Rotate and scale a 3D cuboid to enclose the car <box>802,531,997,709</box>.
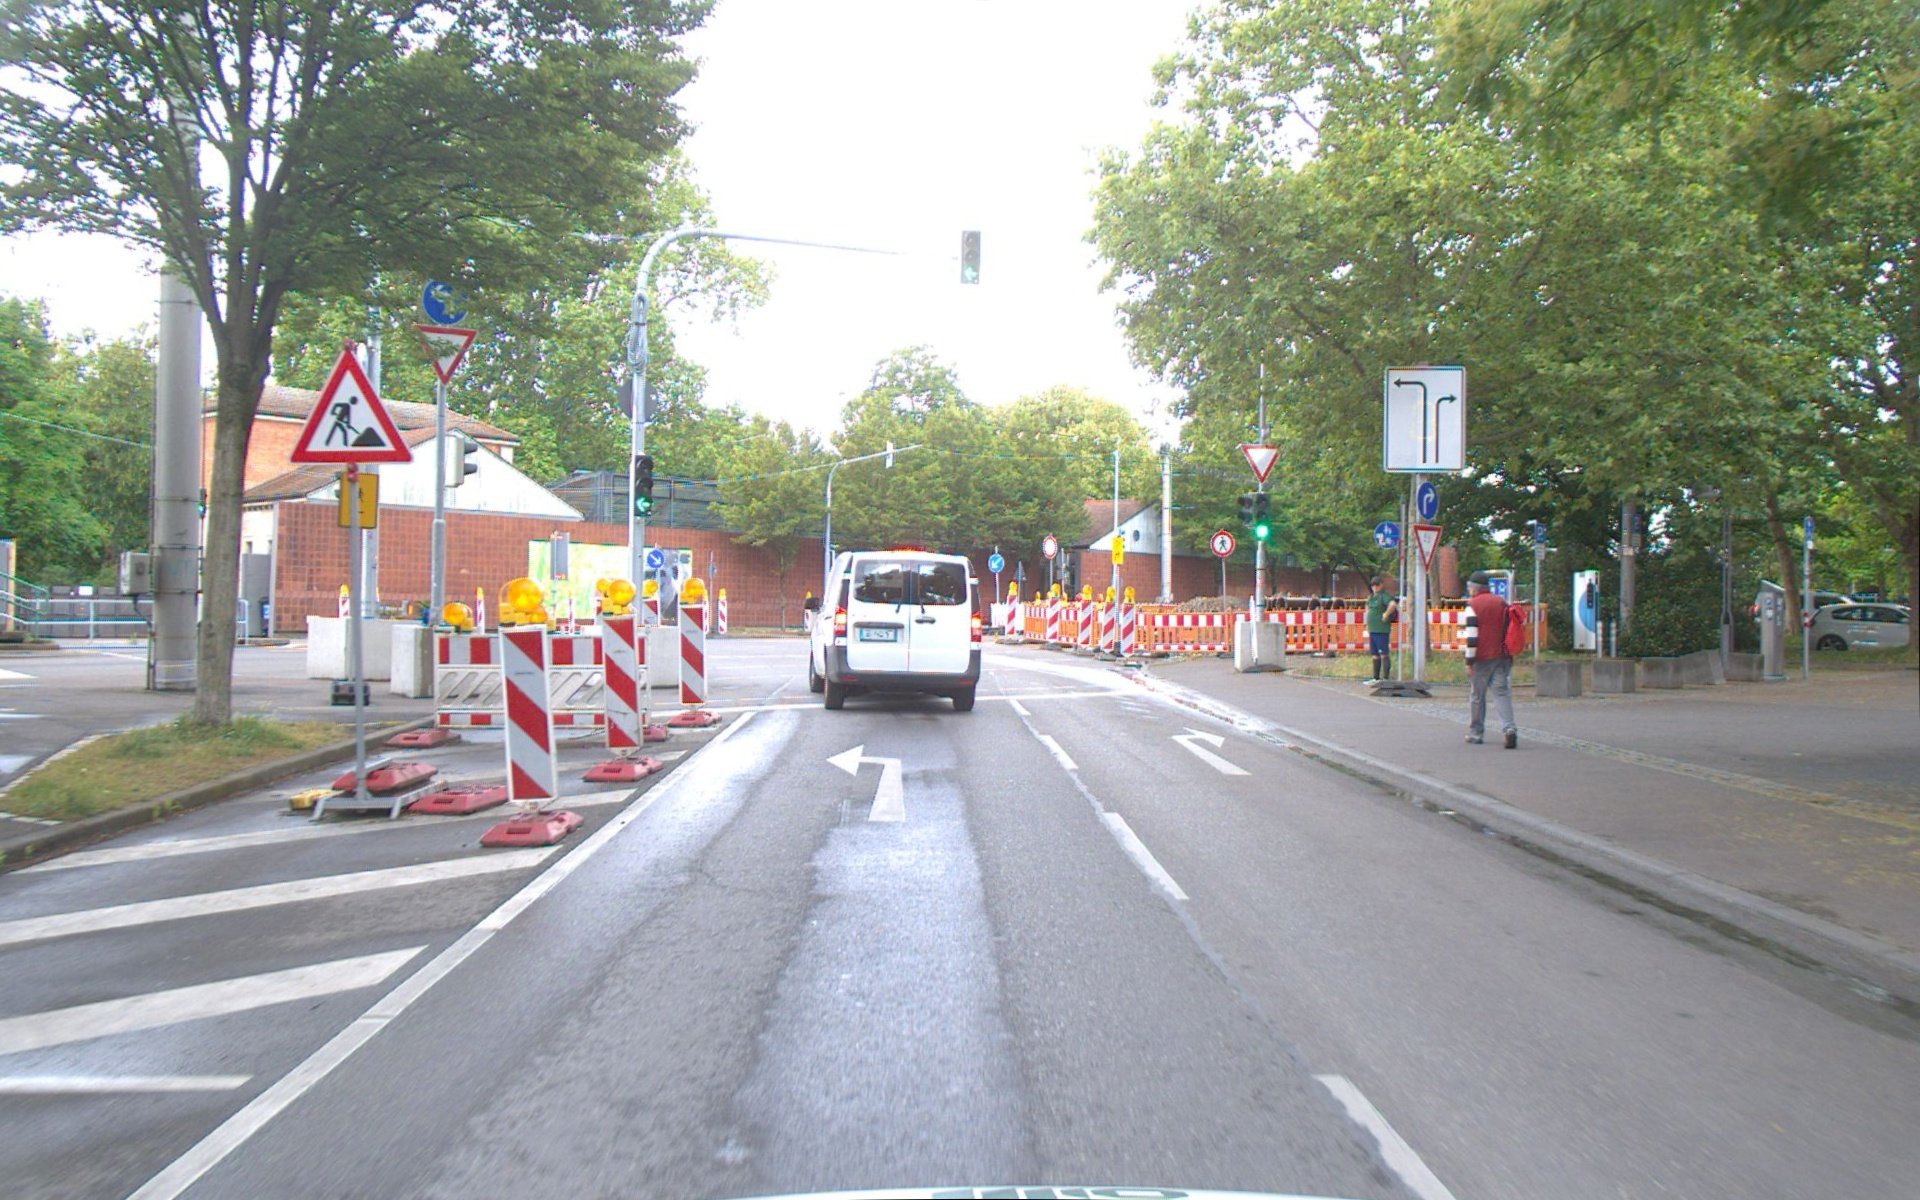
[{"bbox_3d":[-0.911,0.313,21.475,1.882,1.935,4.691,4,-2,-9],"label":"car"}]

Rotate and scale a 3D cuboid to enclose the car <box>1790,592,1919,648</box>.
[{"bbox_3d":[23.307,0.509,41.228,4.426,1.349,1.710,-1,-1,42],"label":"car"}]

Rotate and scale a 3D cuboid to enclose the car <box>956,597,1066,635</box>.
[{"bbox_3d":[2.126,0.681,68.117,4.413,1.468,1.854,2,-3,-39],"label":"car"}]

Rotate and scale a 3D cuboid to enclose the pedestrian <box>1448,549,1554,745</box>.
[{"bbox_3d":[5.335,0.451,16.344,0.763,1.863,0.727,-2,0,-1],"label":"pedestrian"}]

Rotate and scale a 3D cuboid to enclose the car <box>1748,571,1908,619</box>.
[{"bbox_3d":[28.474,-0.129,54.313,4.420,1.497,1.712,-1,-1,38],"label":"car"}]

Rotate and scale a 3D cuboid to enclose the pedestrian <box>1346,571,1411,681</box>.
[{"bbox_3d":[6.680,0.403,26.428,0.717,1.727,0.836,-1,0,-10],"label":"pedestrian"}]

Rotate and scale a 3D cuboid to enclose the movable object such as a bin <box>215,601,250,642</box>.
[{"bbox_3d":[-24.106,0.718,54.791,0.844,1.364,0.788,0,-1,-43],"label":"movable object such as a bin"}]
